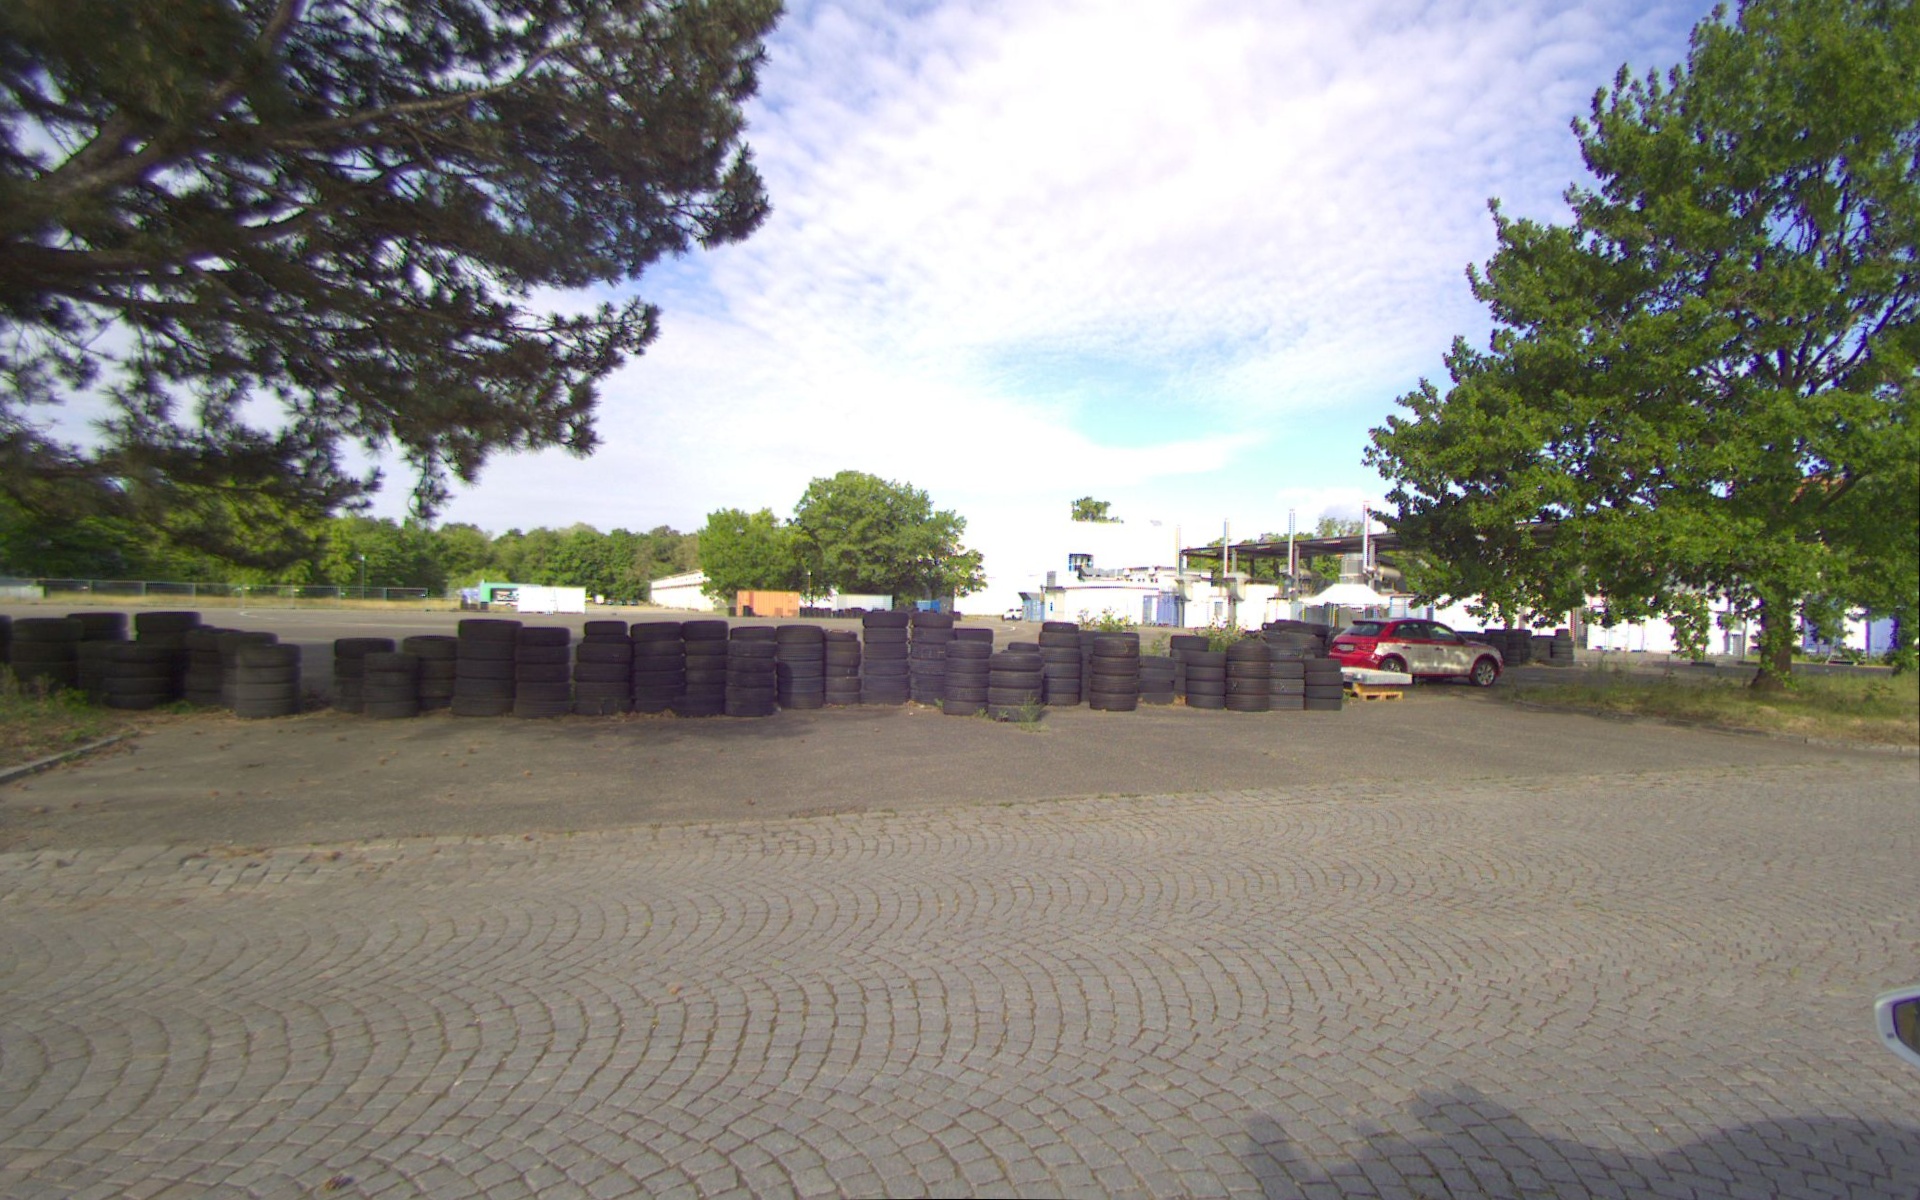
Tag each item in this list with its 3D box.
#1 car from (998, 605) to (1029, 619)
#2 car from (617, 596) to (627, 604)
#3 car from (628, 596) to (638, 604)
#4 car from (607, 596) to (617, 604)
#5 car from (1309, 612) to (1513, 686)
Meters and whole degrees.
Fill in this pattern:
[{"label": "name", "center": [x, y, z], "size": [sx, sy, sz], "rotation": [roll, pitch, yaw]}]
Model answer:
[{"label": "car", "center": [6.232, 1.384, 117.891], "size": [1.849, 1.585, 4.521], "rotation": [2, 0, -24]}, {"label": "car", "center": [-80.379, 0.009, 238.803], "size": [2.010, 1.833, 3.975], "rotation": [2, 0, -25]}, {"label": "car", "center": [-78.064, -0.023, 239.779], "size": [1.973, 1.773, 3.975], "rotation": [2, 0, -25]}, {"label": "car", "center": [-82.379, -0.019, 237.758], "size": [1.973, 1.773, 3.975], "rotation": [2, 0, -25]}, {"label": "car", "center": [9.989, 1.072, 22.311], "size": [3.934, 1.483, 1.723], "rotation": [2, 0, -15]}]
